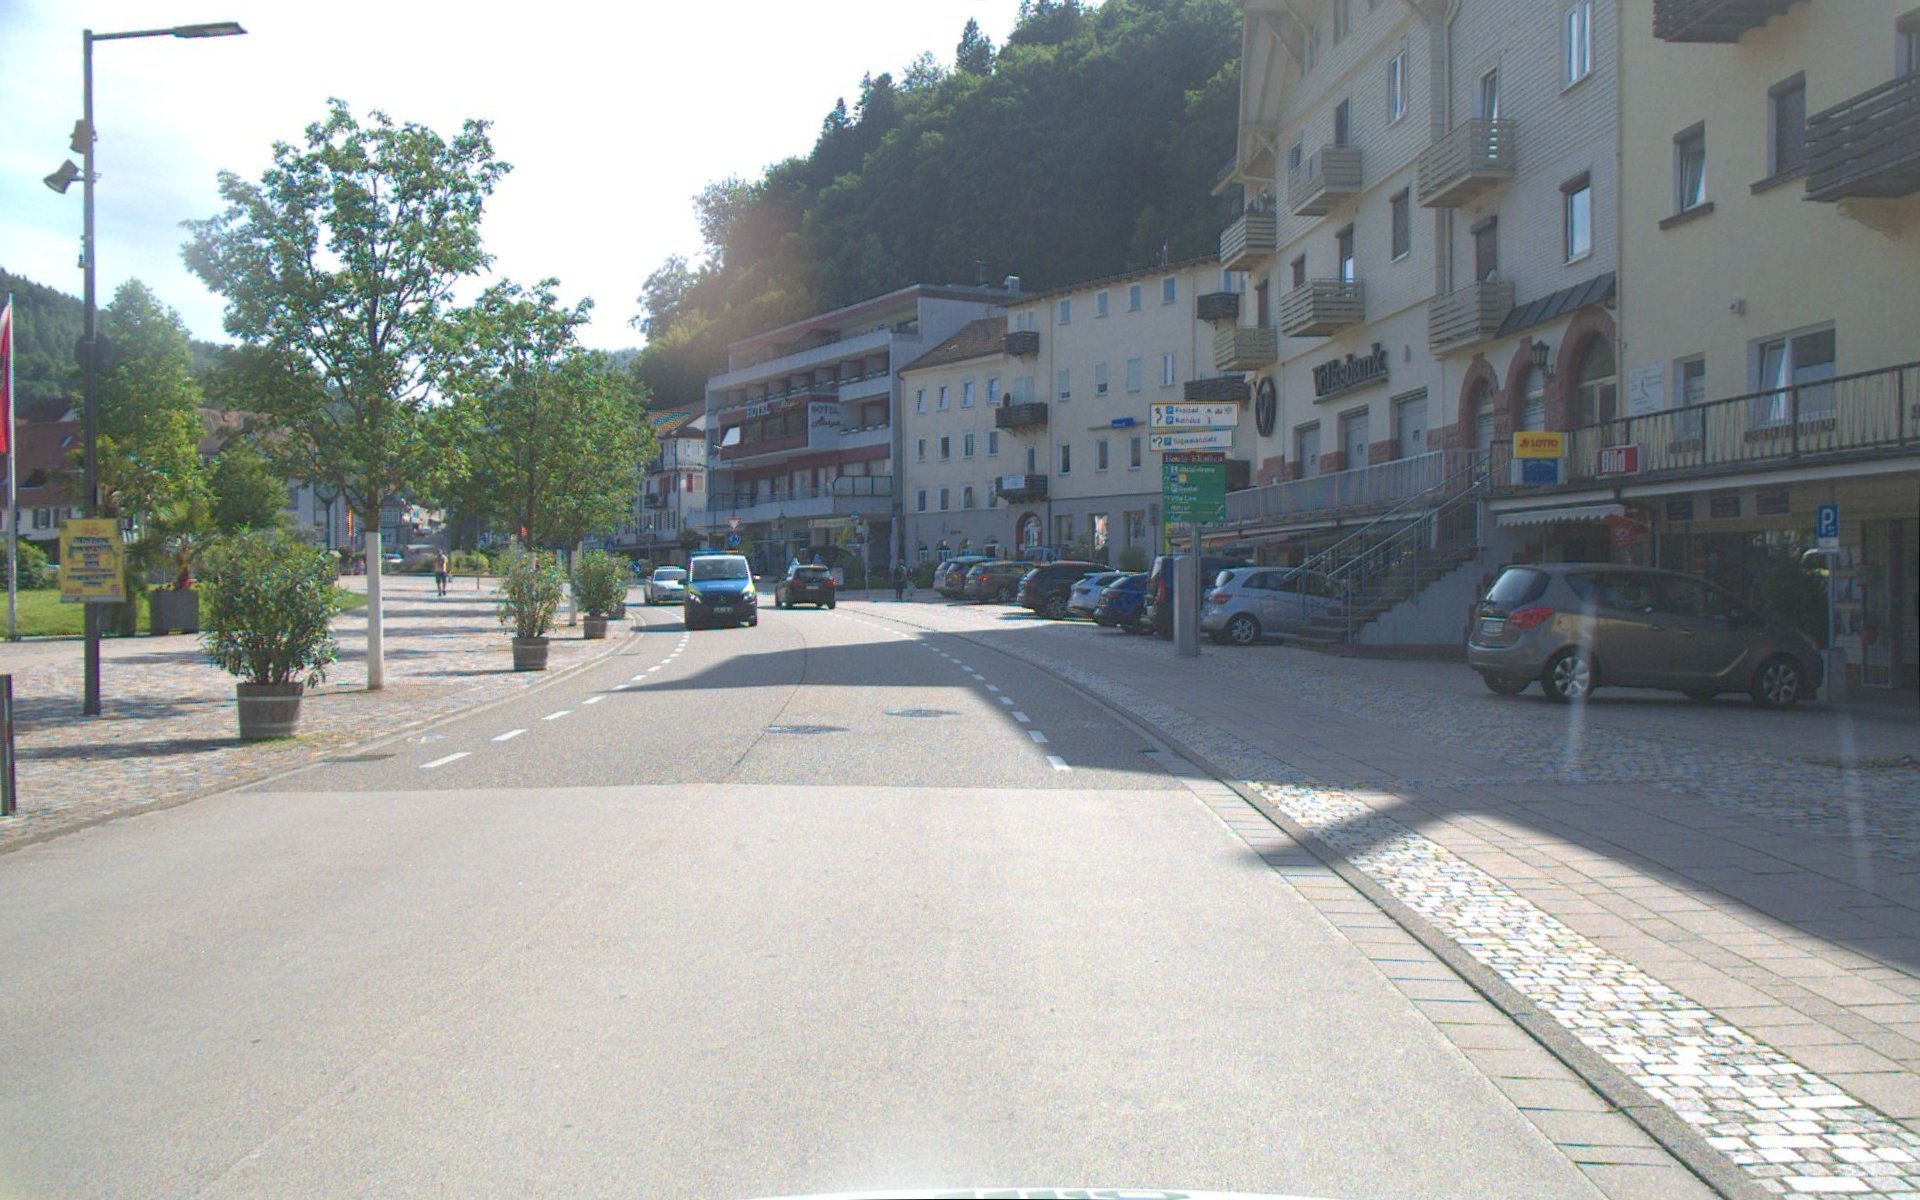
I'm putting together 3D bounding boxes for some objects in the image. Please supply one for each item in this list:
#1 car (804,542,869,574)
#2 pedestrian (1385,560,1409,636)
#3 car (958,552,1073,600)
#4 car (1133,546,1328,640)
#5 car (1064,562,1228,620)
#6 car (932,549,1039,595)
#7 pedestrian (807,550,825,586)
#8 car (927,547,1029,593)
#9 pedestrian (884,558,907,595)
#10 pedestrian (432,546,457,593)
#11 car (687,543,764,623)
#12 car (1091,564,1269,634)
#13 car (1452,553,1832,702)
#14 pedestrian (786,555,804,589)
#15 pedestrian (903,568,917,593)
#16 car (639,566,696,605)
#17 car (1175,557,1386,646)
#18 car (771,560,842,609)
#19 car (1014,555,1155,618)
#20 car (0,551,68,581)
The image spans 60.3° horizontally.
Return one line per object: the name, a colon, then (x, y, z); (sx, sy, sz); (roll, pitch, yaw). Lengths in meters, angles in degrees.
car: (-6.564, -2.220, 88.076); (3.123, 1.692, 1.582); (0, 1, -25)
pedestrian: (9.930, -0.053, 37.577); (0.403, 1.687, 0.435); (-2, 1, 3)
car: (2.081, -0.943, 62.101); (3.959, 1.542, 1.759); (-4, 3, -25)
car: (5.876, -0.157, 36.181); (3.833, 1.835, 1.856); (3, 0, -4)
car: (5.069, -0.226, 45.441); (4.269, 1.486, 1.772); (1, 0, -2)
car: (1.011, -1.115, 65.405); (3.813, 1.576, 1.759); (-4, 3, -25)
pedestrian: (-6.951, -1.540, 80.050); (0.661, 1.759, 0.701); (0, 1, -27)
car: (0.739, -1.261, 67.755); (3.813, 1.640, 1.759); (-4, 3, -25)
pedestrian: (-2.632, -0.971, 67.178); (0.725, 1.467, 0.628); (-3, 2, -23)
pedestrian: (-20.513, -1.225, 65.807); (0.856, 1.846, 0.685); (0, 1, -26)
car: (-6.446, -0.475, 45.056); (1.821, 1.987, 5.005); (-2, 1, -11)
car: (5.119, -0.035, 38.800); (3.833, 1.486, 1.735); (2, 1, -4)
car: (8.043, 0.304, 19.677); (3.786, 1.581, 1.758); (2, 1, -7)
pedestrian: (-8.010, -1.361, 80.273); (0.748, 1.621, 0.622); (0, 1, -27)
pedestrian: (-2.051, -0.795, 67.352); (0.410, 1.019, 0.528); (-3, 2, -16)
car: (-11.208, -0.557, 63.188); (1.602, 1.394, 4.044); (-3, 1, -17)
car: (6.436, 0.010, 33.471); (3.833, 1.616, 1.773); (2, 1, -5)
car: (-5.573, -0.582, 59.787); (1.701, 1.601, 3.733); (0, 3, -19)
car: (3.743, -0.429, 50.253); (4.004, 1.695, 1.771); (3, 1, -4)
car: (-51.594, -1.880, 91.023); (4.146, 1.644, 1.665); (-1, 1, -42)
